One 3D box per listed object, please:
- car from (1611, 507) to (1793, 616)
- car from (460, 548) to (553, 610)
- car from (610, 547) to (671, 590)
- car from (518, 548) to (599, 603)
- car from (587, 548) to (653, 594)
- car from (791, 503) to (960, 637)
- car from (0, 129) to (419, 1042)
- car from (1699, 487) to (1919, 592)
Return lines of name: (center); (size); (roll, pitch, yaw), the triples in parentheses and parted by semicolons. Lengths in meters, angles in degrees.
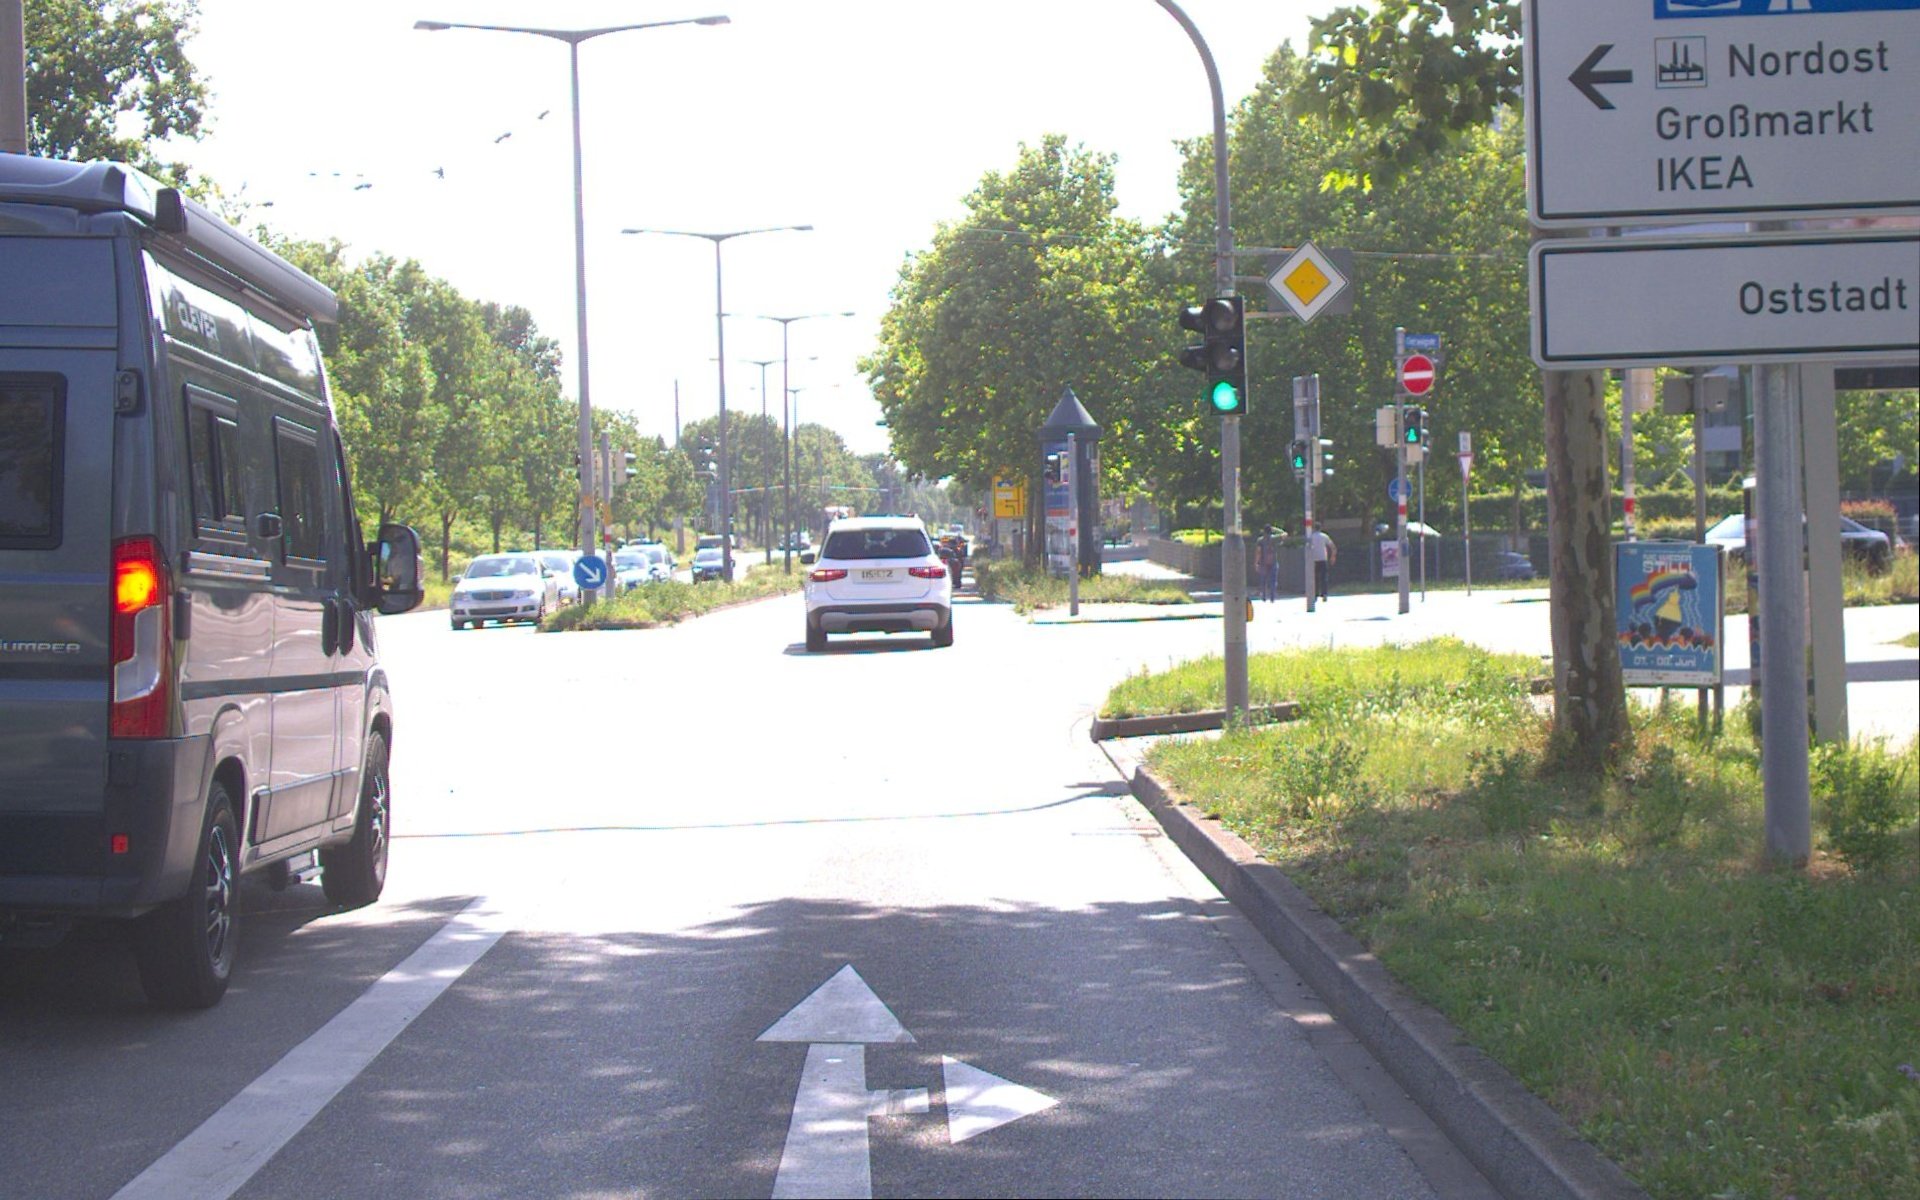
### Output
car: (9.317, -0.504, 43.420); (1.369, 1.284, 4.000); (-1, 1, -1)
car: (-8.737, -0.419, 66.357); (1.369, 1.108, 3.207); (-2, 1, -1)
car: (-8.729, -0.867, 94.189); (1.369, 1.108, 3.207); (-2, 1, -1)
car: (-8.606, -0.536, 73.881); (1.369, 1.108, 3.207); (-2, 1, -1)
car: (-8.654, -0.744, 87.774); (1.369, 1.108, 3.207); (-2, 1, -1)
car: (-1.124, -0.420, 43.728); (1.853, 1.601, 4.001); (-1, 2, -5)
car: (-3.375, -0.080, 12.412); (2.081, 2.647, 4.874); (0, 1, 0)
car: (14.808, -1.037, 59.040); (3.788, 1.751, 1.604); (0, 1, -10)
